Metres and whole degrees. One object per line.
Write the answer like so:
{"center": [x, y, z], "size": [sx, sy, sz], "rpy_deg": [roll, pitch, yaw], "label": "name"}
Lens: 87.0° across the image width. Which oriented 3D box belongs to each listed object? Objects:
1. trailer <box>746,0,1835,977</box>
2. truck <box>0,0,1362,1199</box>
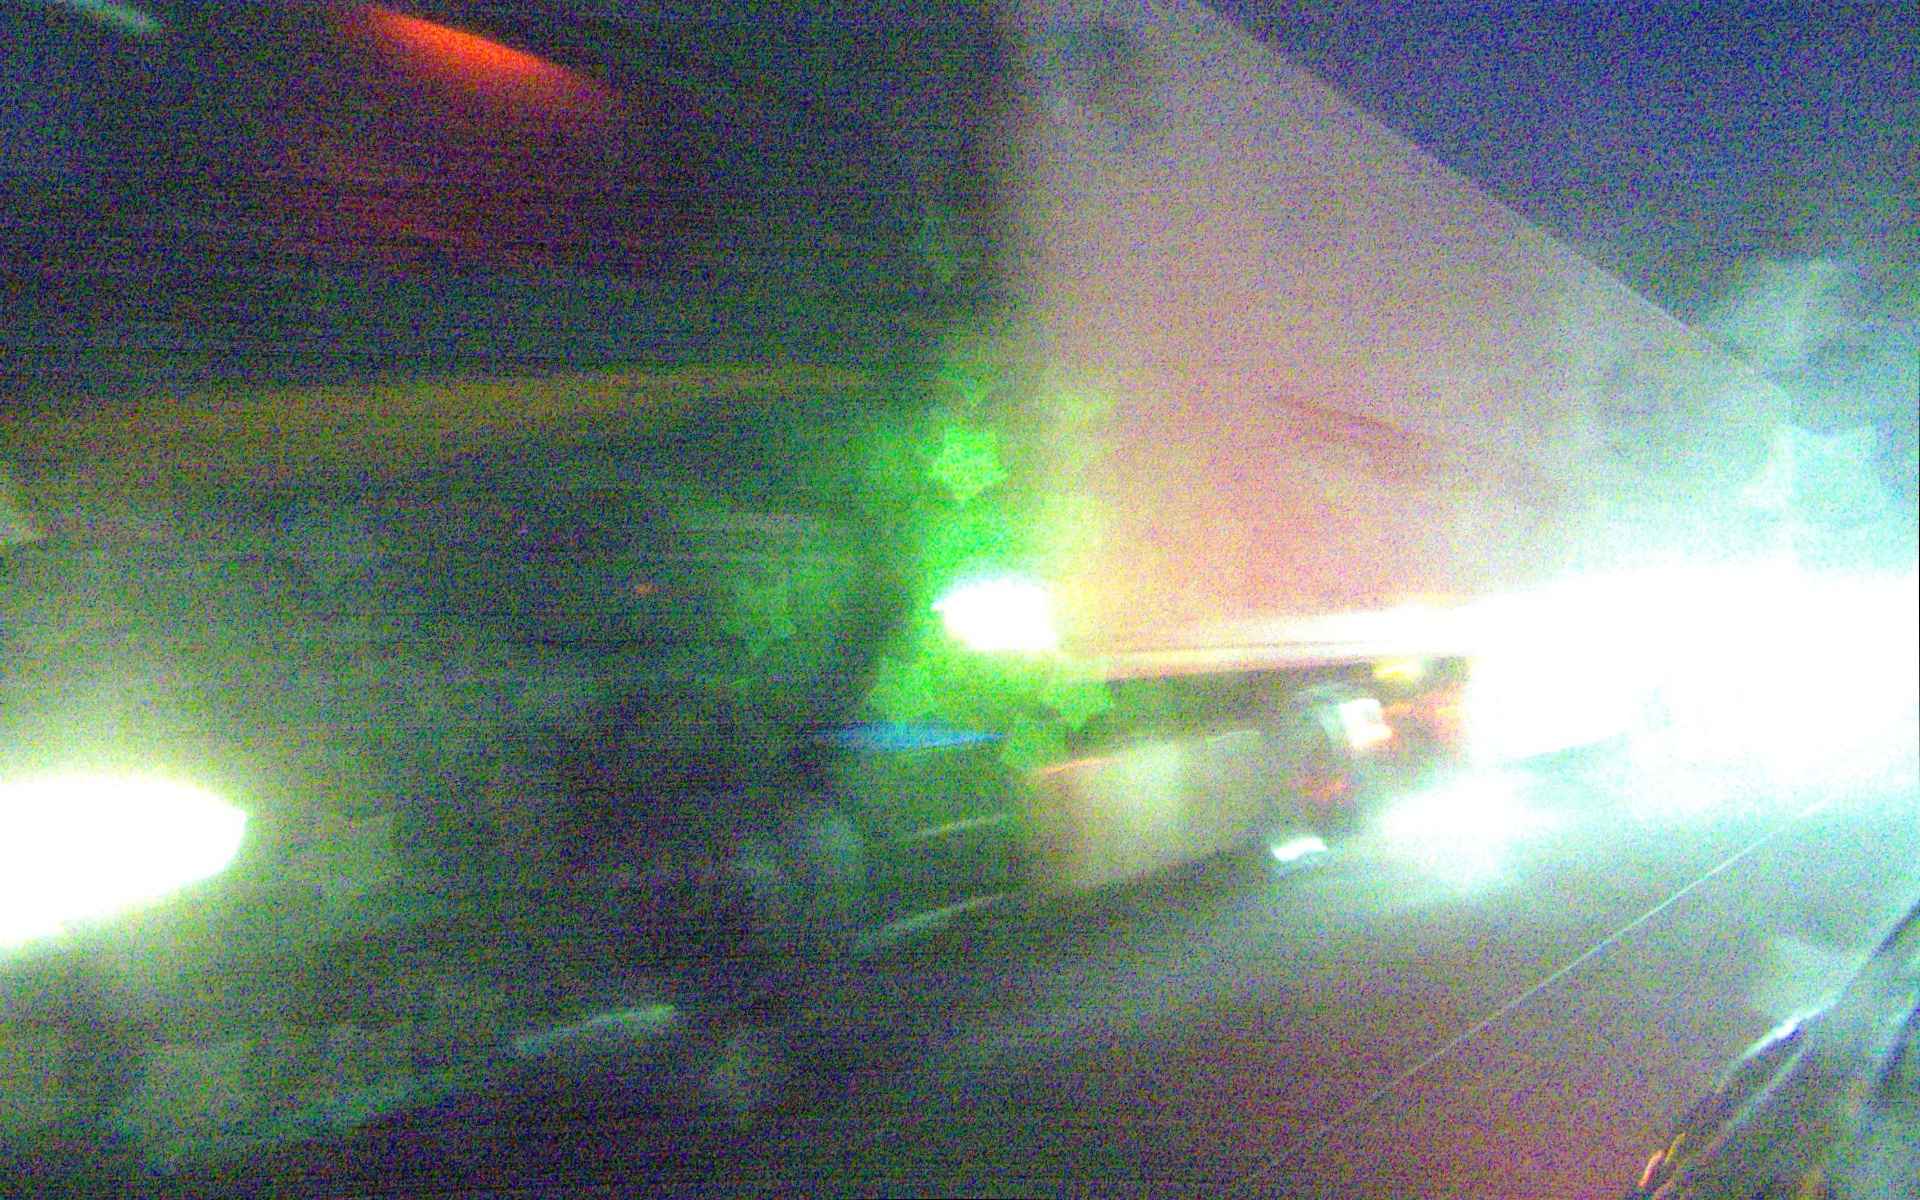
{"center": [4.656, -0.737, 9.128], "size": [13.134, 4.303, 2.743], "rpy_deg": [0, -2, -40], "label": "trailer"}
{"center": [-0.781, -0.747, 4.532], "size": [5.200, 4.295, 2.715], "rpy_deg": [1, 0, -41], "label": "truck"}
